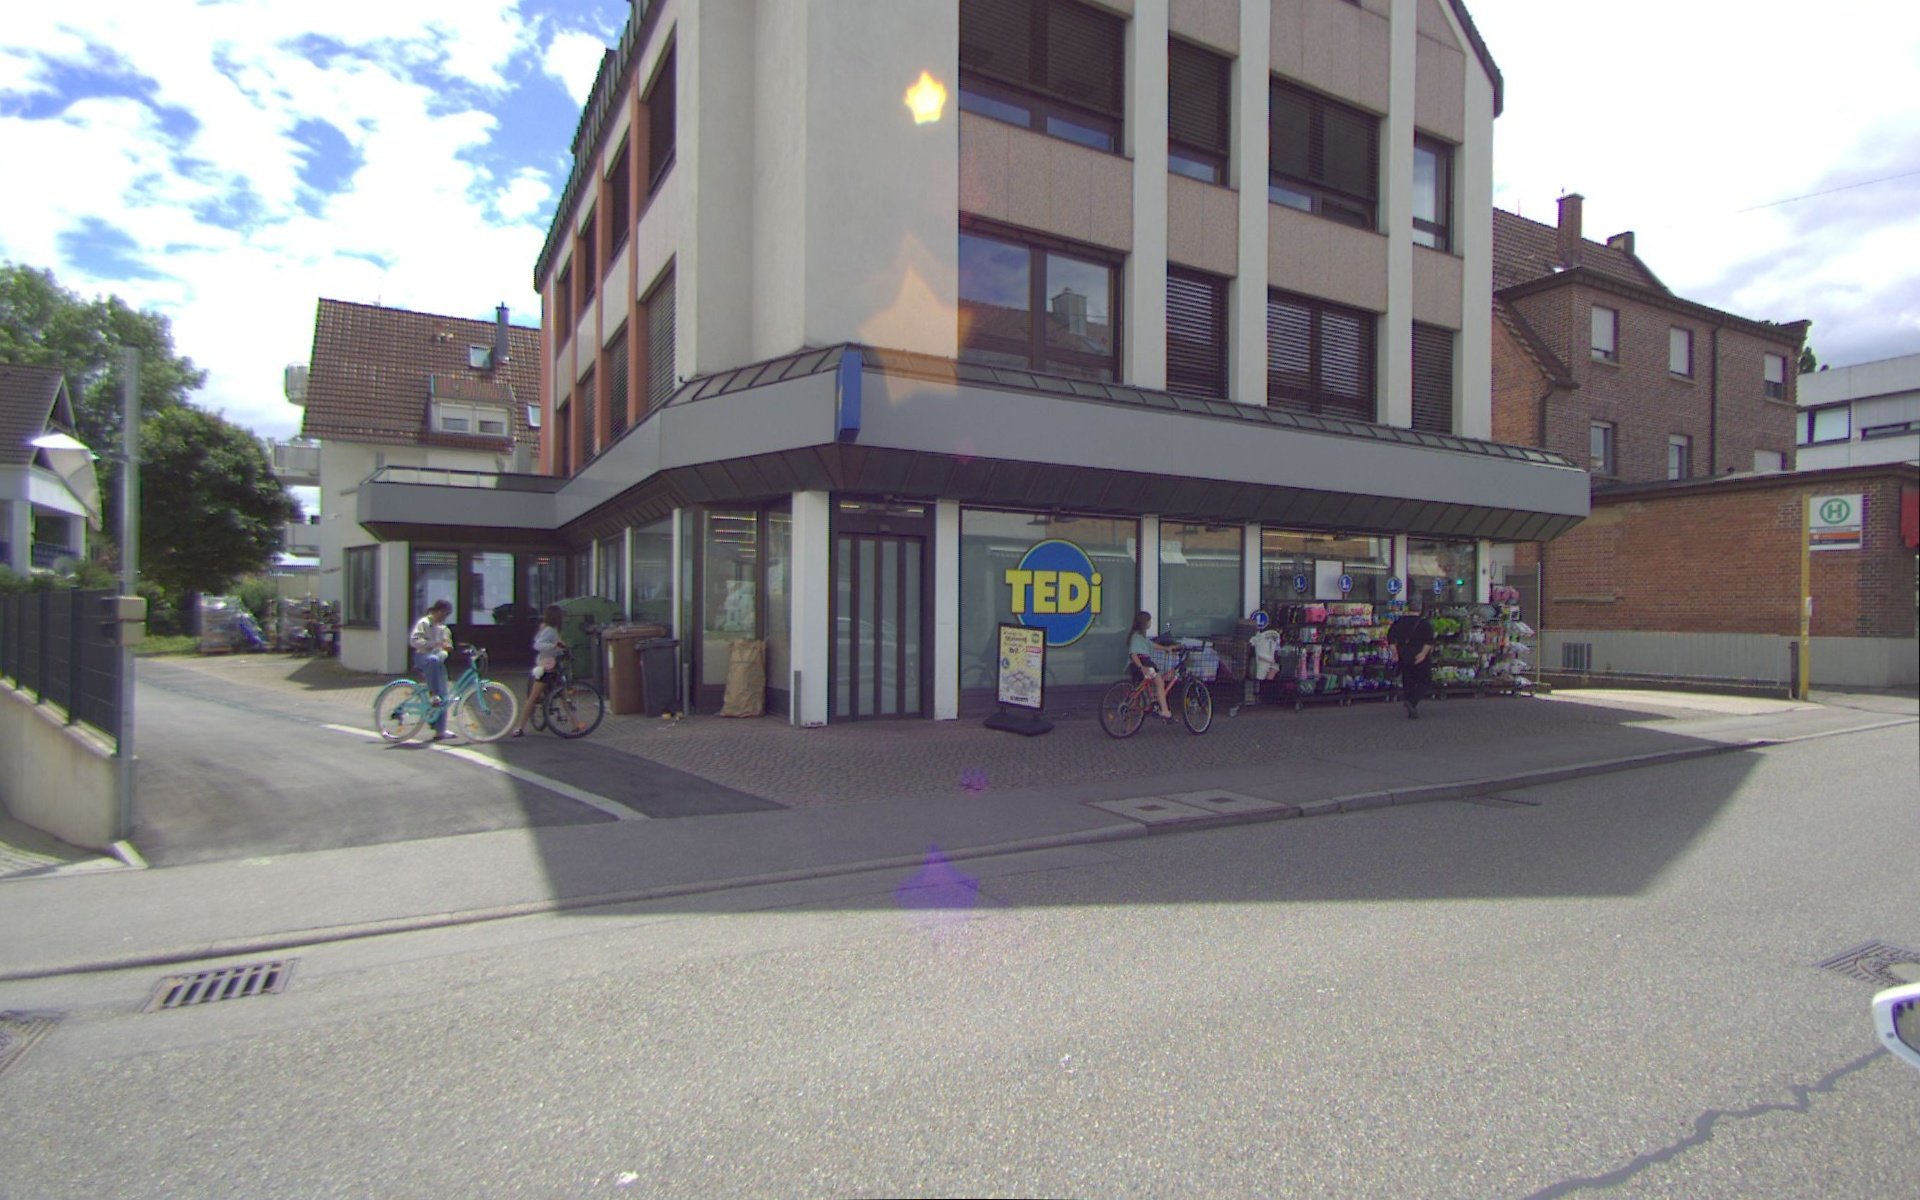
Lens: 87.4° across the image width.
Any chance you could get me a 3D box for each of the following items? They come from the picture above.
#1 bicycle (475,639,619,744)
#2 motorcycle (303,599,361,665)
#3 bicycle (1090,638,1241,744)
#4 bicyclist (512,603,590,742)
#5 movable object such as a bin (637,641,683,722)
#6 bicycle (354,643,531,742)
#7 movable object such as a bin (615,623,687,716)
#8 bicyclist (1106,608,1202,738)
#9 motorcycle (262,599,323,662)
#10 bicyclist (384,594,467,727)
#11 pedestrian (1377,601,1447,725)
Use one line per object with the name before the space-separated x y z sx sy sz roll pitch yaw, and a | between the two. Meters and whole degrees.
bicycle | -4.332 0.919 10.502 1.662 0.967 0.553 0 0 33
motorcycle | -15.637 0.768 25.102 0.849 1.539 3.778 1 -1 -26
bicycle | 2.301 0.981 11.178 1.714 1.064 0.441 1 6 -31
bicyclist | -4.240 0.733 10.428 0.417 1.384 0.587 0 1 33
movable object such as a bin | -3.606 0.967 12.080 0.438 0.923 0.405 -2 1 -30
bicycle | -5.108 0.900 9.941 1.557 0.929 0.459 0 0 6
movable object such as a bin | -3.902 0.853 12.669 0.729 1.080 0.680 -2 1 -30
bicyclist | 2.169 0.791 11.275 0.753 1.355 0.664 1 4 -30
motorcycle | -17.262 0.758 26.054 0.849 1.539 3.595 1 -1 -26
bicyclist | -5.270 0.584 9.925 0.418 1.258 0.642 2 0 3
pedestrian | 6.020 0.819 13.403 0.757 1.579 0.574 2 0 20
